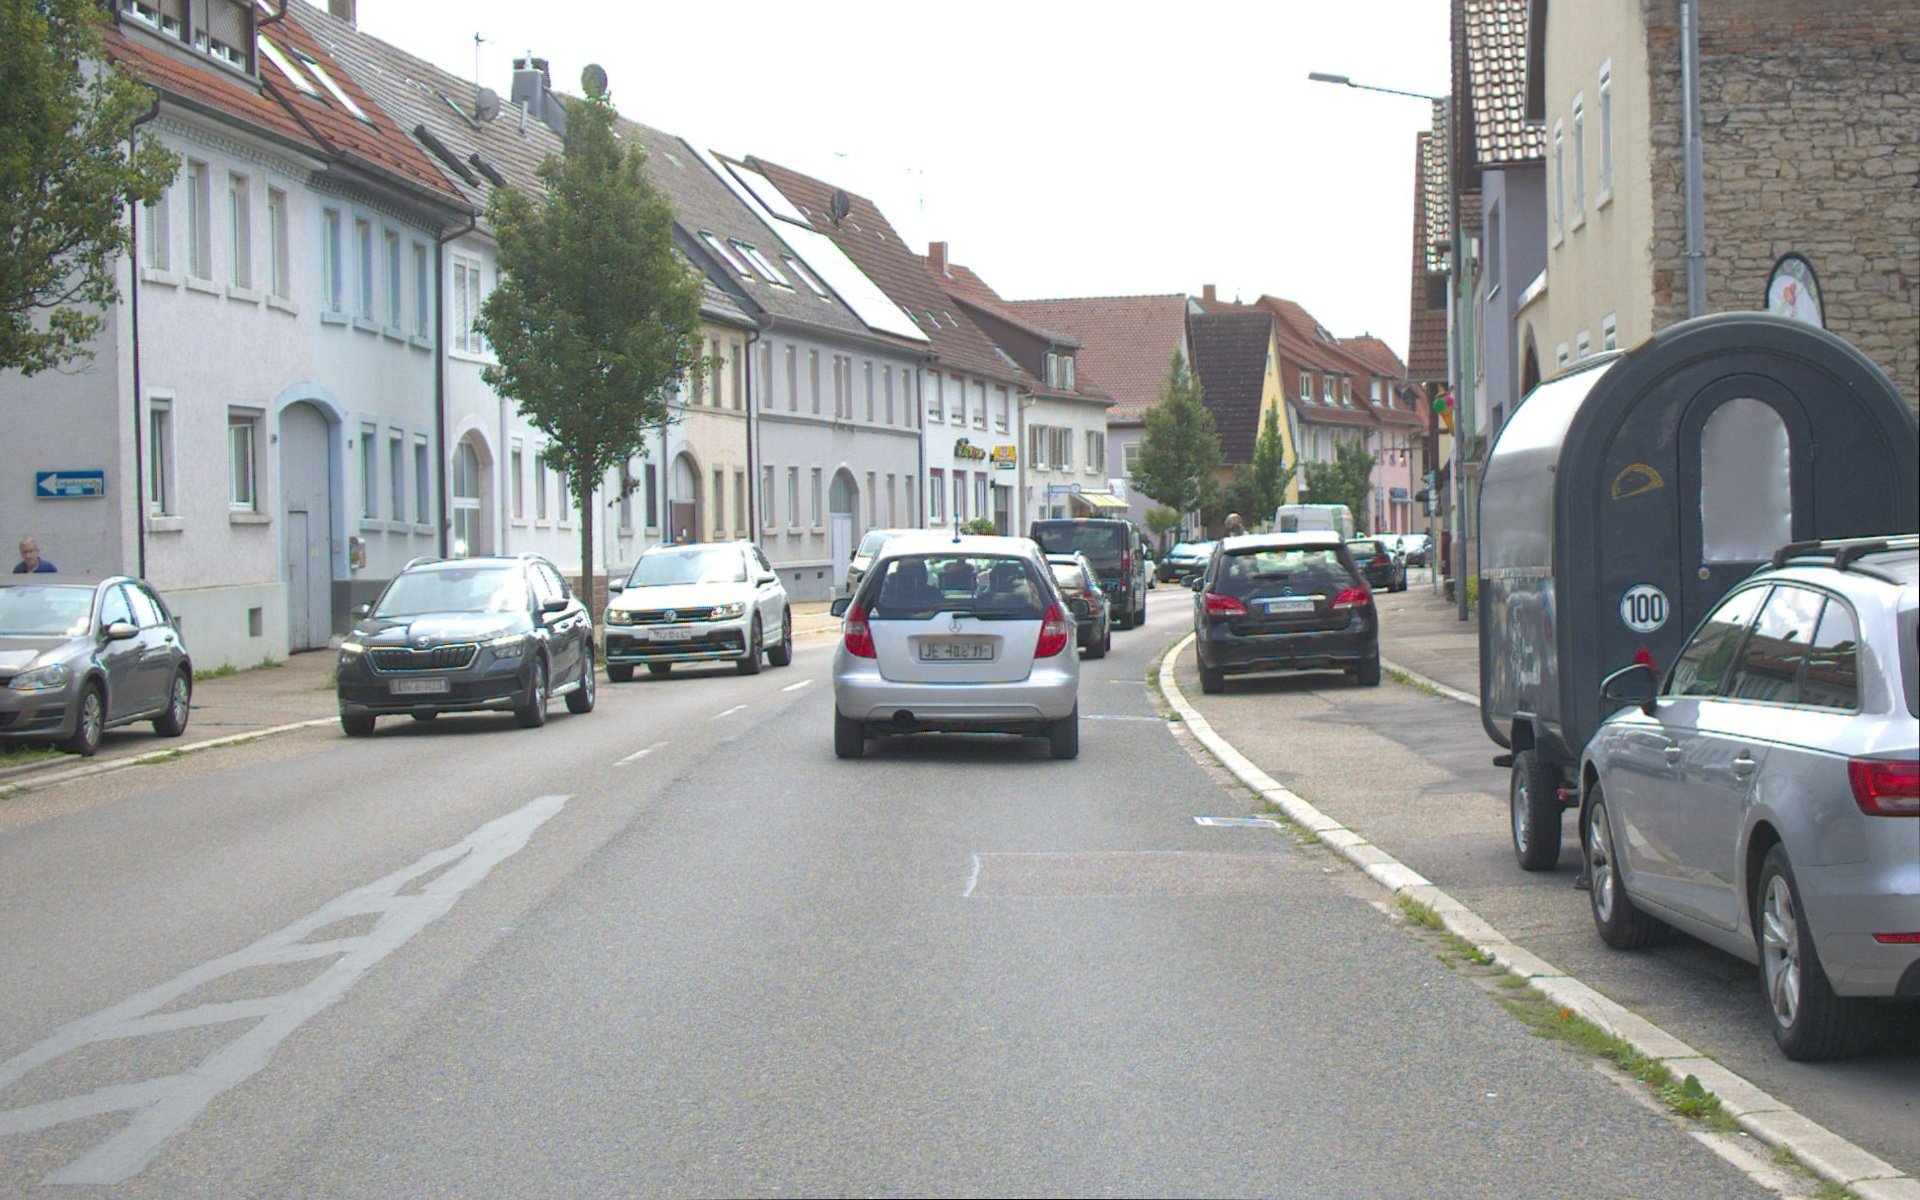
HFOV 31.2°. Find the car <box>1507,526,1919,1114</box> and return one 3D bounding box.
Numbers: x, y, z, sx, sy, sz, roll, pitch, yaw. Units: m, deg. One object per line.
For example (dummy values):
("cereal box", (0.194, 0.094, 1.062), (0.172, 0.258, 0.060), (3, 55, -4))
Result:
("car", (3.159, 0.509, 11.150), (1.875, 1.476, 4.675), (-2, 1, -1))

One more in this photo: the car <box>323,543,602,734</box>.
("car", (-4.427, 0.294, 31.175), (1.743, 1.521, 4.019), (-3, 1, 2))

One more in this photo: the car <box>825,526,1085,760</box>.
("car", (-0.106, 0.280, 25.840), (1.769, 1.589, 4.000), (1, 0, -2))

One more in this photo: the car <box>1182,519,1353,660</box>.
("car", (3.594, -0.135, 40.782), (1.861, 1.526, 4.196), (-2, 0, 4))

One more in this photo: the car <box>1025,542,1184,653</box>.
("car", (2.016, -0.052, 46.886), (1.945, 1.402, 3.999), (1, 0, 5))

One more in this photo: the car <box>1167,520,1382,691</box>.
("car", (3.228, 0.011, 35.123), (1.994, 1.554, 3.999), (-2, 1, 6))

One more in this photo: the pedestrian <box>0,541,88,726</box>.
("pedestrian", (-9.112, 0.326, 34.016), (0.739, 1.795, 0.642), (-2, 0, 0))

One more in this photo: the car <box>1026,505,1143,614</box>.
("car", (2.310, -0.731, 62.646), (1.769, 1.881, 4.446), (1, 0, 6))

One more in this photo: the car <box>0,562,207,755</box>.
("car", (-7.713, 0.433, 28.745), (1.804, 1.455, 4.158), (0, 1, 2))

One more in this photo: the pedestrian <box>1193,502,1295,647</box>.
("pedestrian", (3.661, -0.342, 44.197), (1.095, 1.815, 1.469), (-1, 1, 12))

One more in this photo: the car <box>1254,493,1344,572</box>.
("car", (10.080, -1.976, 102.007), (2.237, 2.214, 3.998), (-2, 0, 10))

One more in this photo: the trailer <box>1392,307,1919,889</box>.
("trailer", (3.250, -0.049, 15.948), (1.845, 2.346, 3.590), (-2, 1, -2))

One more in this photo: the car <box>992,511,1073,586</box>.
("car", (2.084, -1.448, 97.904), (1.994, 2.007, 3.999), (-2, 0, 5))

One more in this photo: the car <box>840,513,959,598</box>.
("car", (-1.372, -1.056, 79.911), (2.092, 1.877, 3.999), (-1, 1, 9))

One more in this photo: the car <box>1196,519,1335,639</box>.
("car", (4.497, -0.314, 50.195), (1.861, 1.620, 4.196), (-2, 0, 7))

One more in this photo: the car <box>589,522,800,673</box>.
("car", (-3.237, -0.082, 42.851), (1.955, 1.778, 4.651), (0, 1, 4))
